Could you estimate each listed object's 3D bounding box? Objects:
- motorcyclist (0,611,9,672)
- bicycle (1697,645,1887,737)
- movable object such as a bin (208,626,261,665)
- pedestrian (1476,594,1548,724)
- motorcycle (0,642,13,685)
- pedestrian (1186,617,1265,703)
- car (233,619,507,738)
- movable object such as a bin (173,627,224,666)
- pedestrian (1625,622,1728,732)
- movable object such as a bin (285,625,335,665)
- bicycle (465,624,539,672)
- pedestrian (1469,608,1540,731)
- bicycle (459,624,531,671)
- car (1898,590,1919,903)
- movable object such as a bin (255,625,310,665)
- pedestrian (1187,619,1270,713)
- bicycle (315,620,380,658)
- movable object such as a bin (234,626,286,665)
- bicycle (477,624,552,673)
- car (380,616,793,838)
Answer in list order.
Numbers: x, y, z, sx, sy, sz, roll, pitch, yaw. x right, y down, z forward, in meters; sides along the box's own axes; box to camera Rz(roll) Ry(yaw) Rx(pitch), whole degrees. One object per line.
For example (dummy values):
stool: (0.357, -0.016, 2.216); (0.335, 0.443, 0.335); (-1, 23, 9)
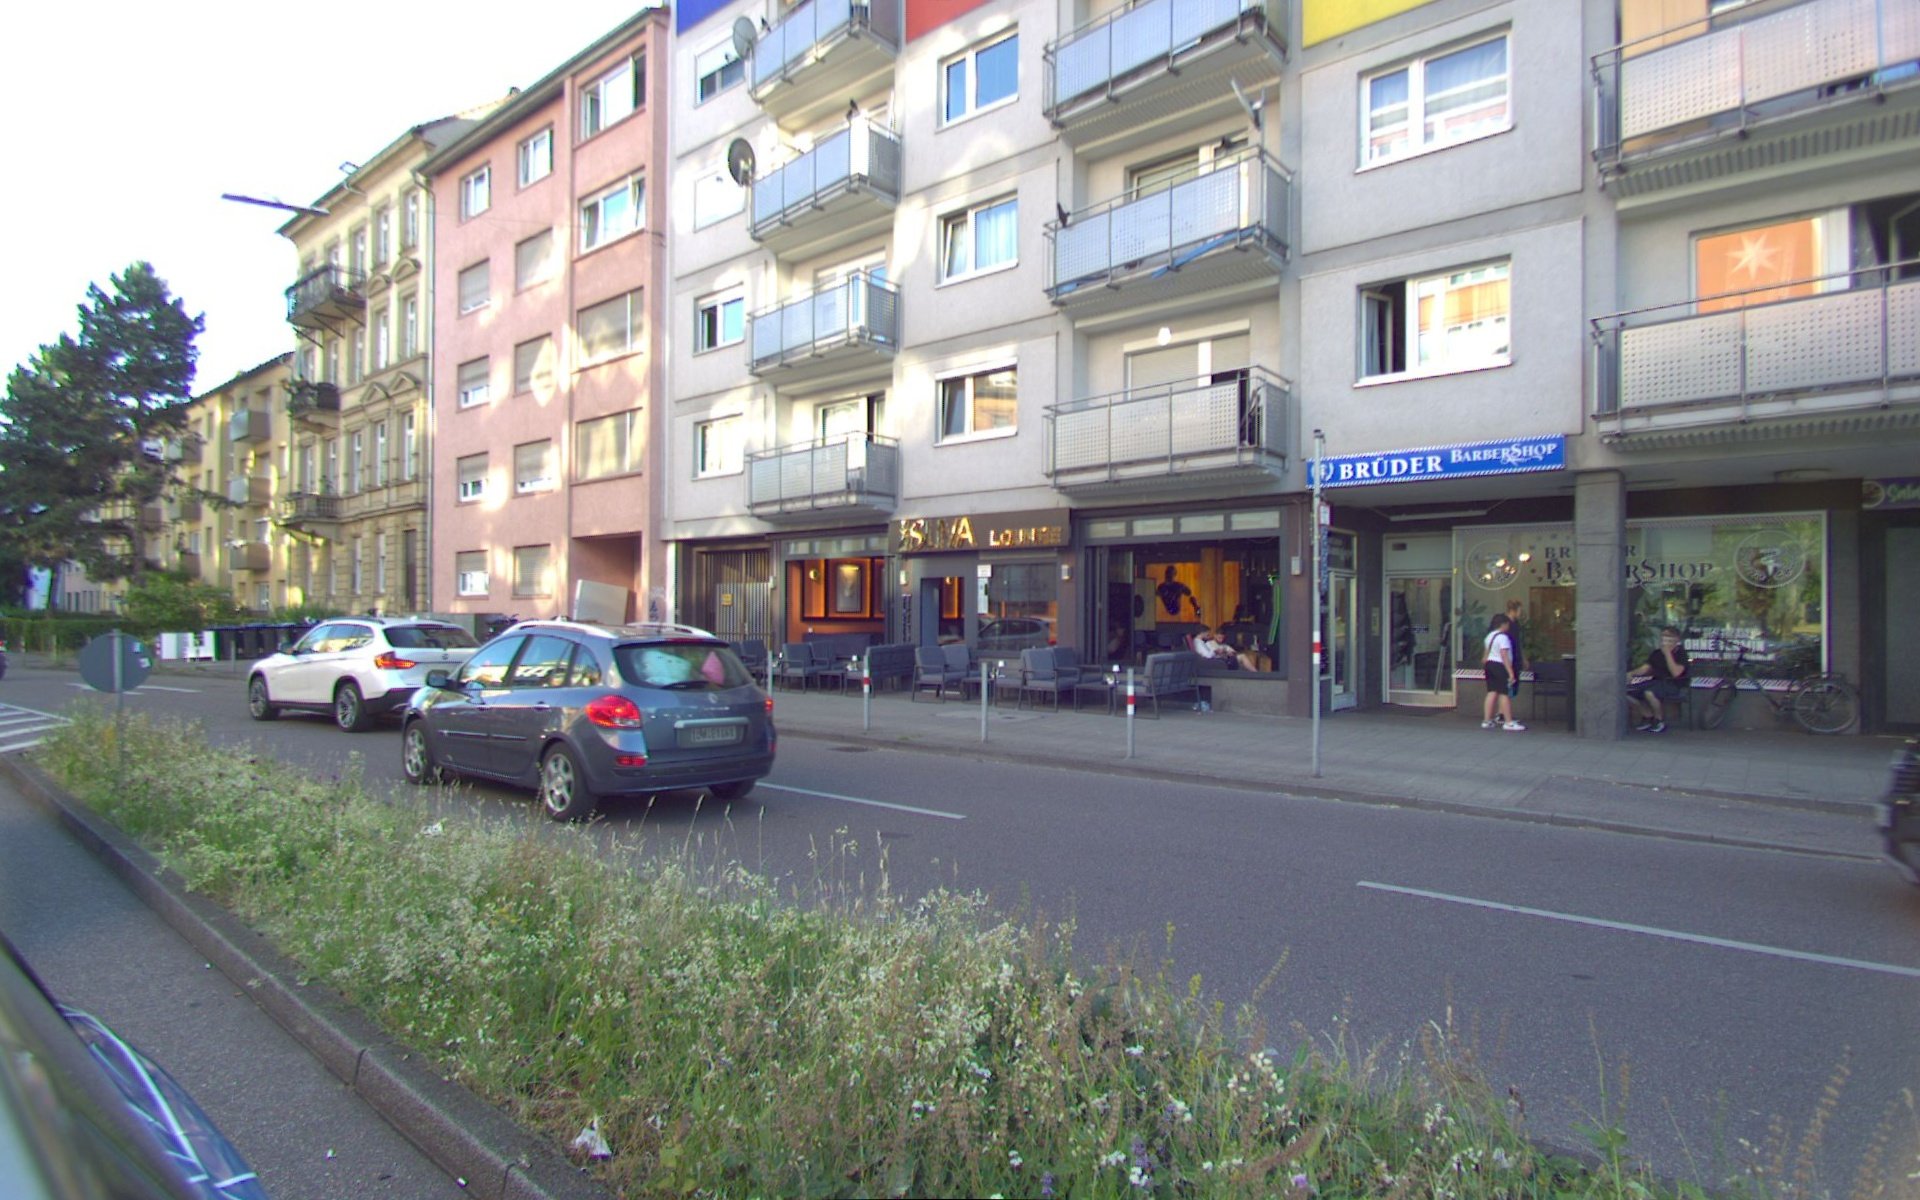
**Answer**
motorcyclist: (-23.425, 0.990, 24.285); (0.957, 1.452, 0.741); (-1, -3, 39)
bicycle: (10.047, 1.070, 12.306); (1.691, 1.006, 0.620); (0, -1, 32)
movable object such as a bin: (-23.600, 1.469, 32.938); (0.837, 1.242, 1.193); (0, -1, 1)
pedestrian: (7.340, 0.773, 13.483); (0.651, 1.685, 0.624); (0, -1, 9)
motorcycle: (-23.427, 1.511, 24.283); (2.046, 0.970, 0.741); (-1, -2, 40)
pedestrian: (4.357, 0.958, 16.606); (0.974, 1.357, 0.871); (-1, -2, 40)
car: (-8.617, 1.055, 14.678); (4.236, 1.499, 1.738); (-1, -3, 34)
movable object such as a bin: (-24.524, 1.481, 32.605); (0.836, 1.242, 1.195); (0, -1, -8)
pedestrian: (8.868, 0.932, 12.544); (0.798, 1.323, 0.626); (0, -1, -3)
movable object such as a bin: (-20.875, 1.434, 32.543); (0.837, 1.242, 1.193); (0, -1, 1)
bicycle: (-12.091, 1.253, 26.763); (0.473, 1.200, 1.758); (-1, -2, 38)
pedestrian: (6.810, 0.851, 12.664); (0.626, 1.478, 0.649); (-1, -2, 43)
bicycle: (-12.479, 1.258, 27.201); (0.473, 1.200, 1.758); (-1, -2, 38)
car: (6.614, 0.746, 4.018); (4.099, 1.641, 1.702); (-1, -3, 40)
movable object such as a bin: (-21.804, 1.444, 32.594); (0.916, 1.242, 1.292); (0, -1, 1)
pedestrian: (4.054, 0.963, 15.293); (0.882, 1.357, 0.961); (-1, -2, 40)
bicycle: (-19.926, 1.242, 32.930); (0.473, 1.200, 1.758); (-1, -2, 38)
movable object such as a bin: (-22.730, 1.458, 32.879); (0.837, 1.242, 1.193); (0, -1, 1)
bicycle: (-11.549, 1.239, 26.269); (0.473, 1.200, 1.758); (-1, -2, 38)
car: (-3.336, 0.913, 8.672); (3.982, 1.482, 1.576); (-2, -3, 40)
